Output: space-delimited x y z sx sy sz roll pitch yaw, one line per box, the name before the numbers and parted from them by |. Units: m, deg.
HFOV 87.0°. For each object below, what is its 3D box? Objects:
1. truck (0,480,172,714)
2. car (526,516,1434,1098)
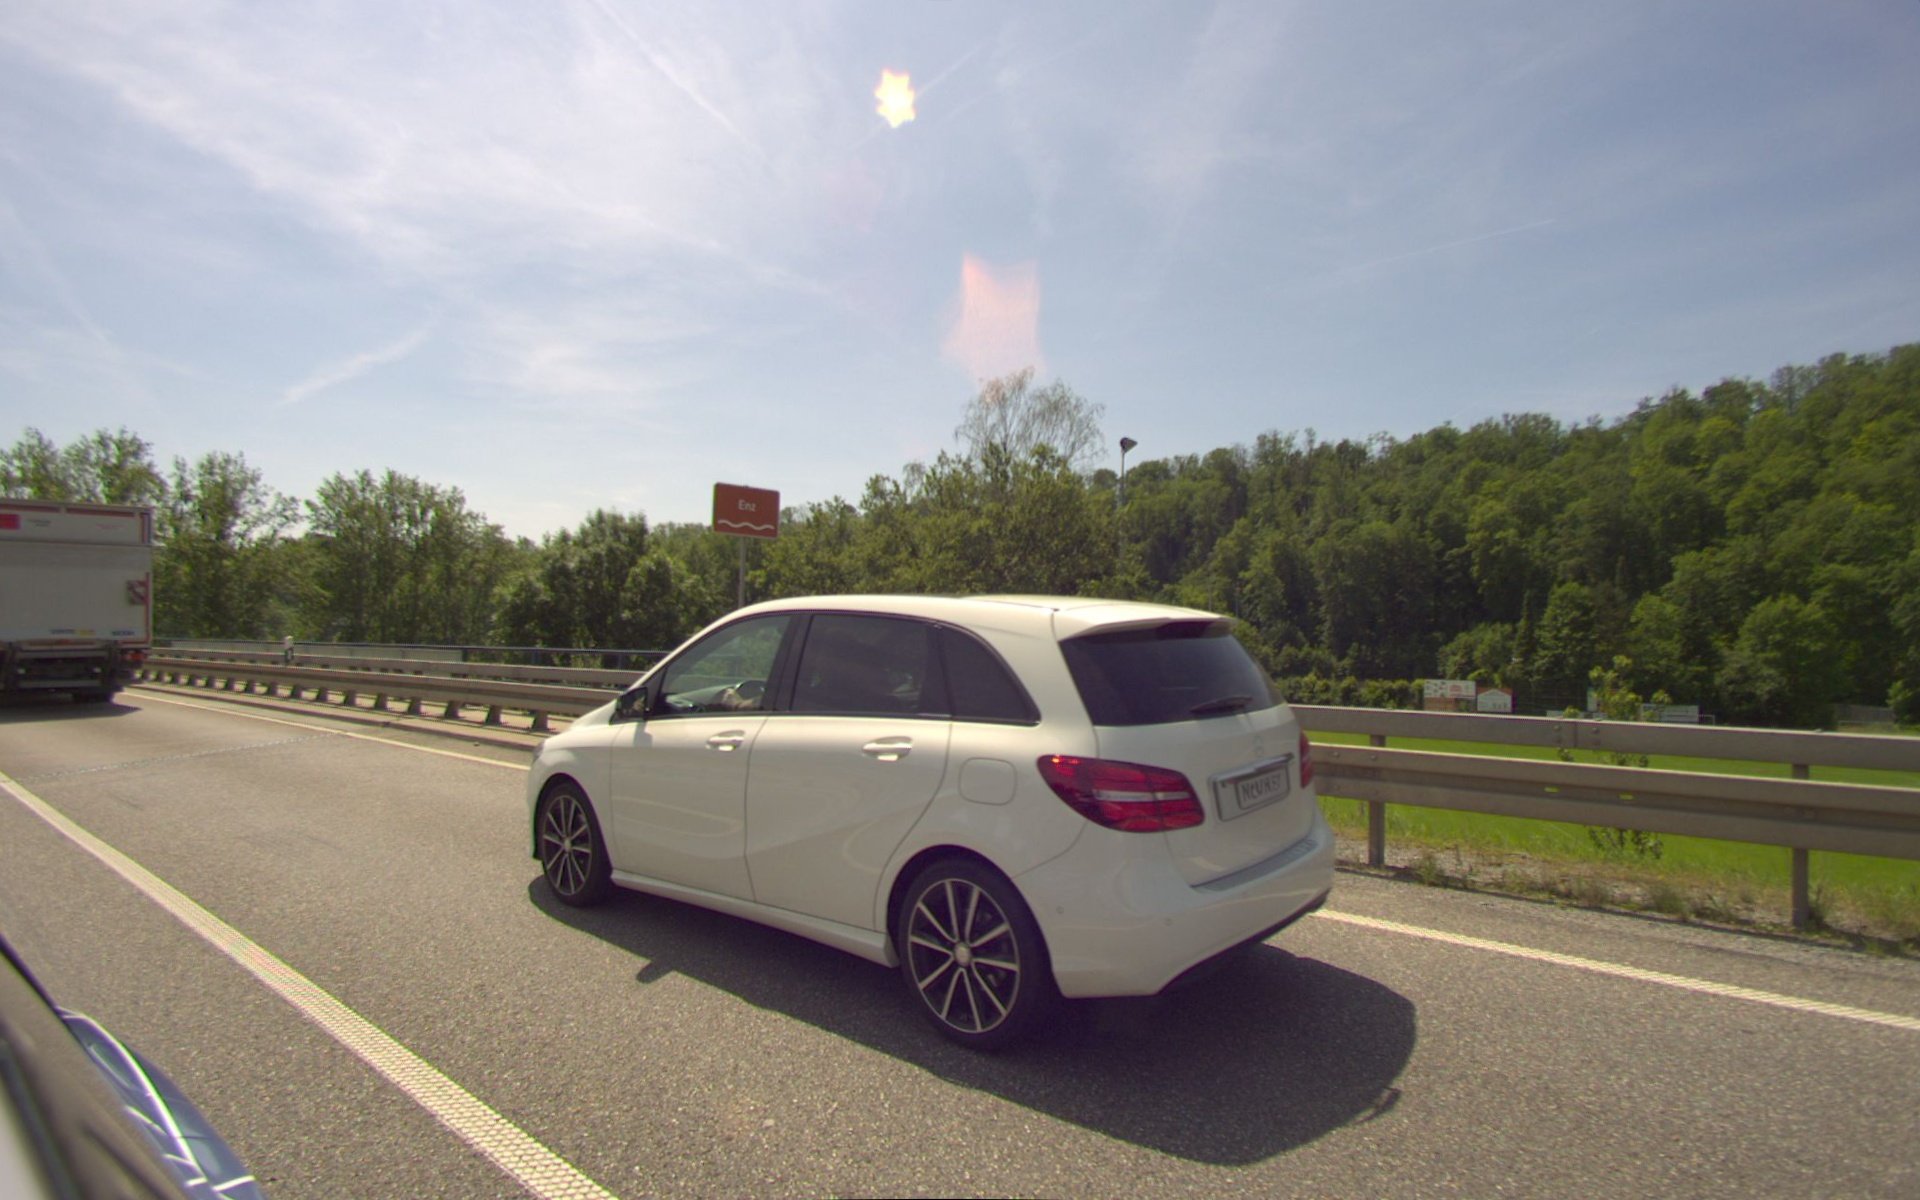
truck | -18.922 0.093 20.277 9.697 3.833 2.886 -2 -2 39
car | -0.216 0.584 4.644 3.998 1.523 1.739 -2 -1 42
